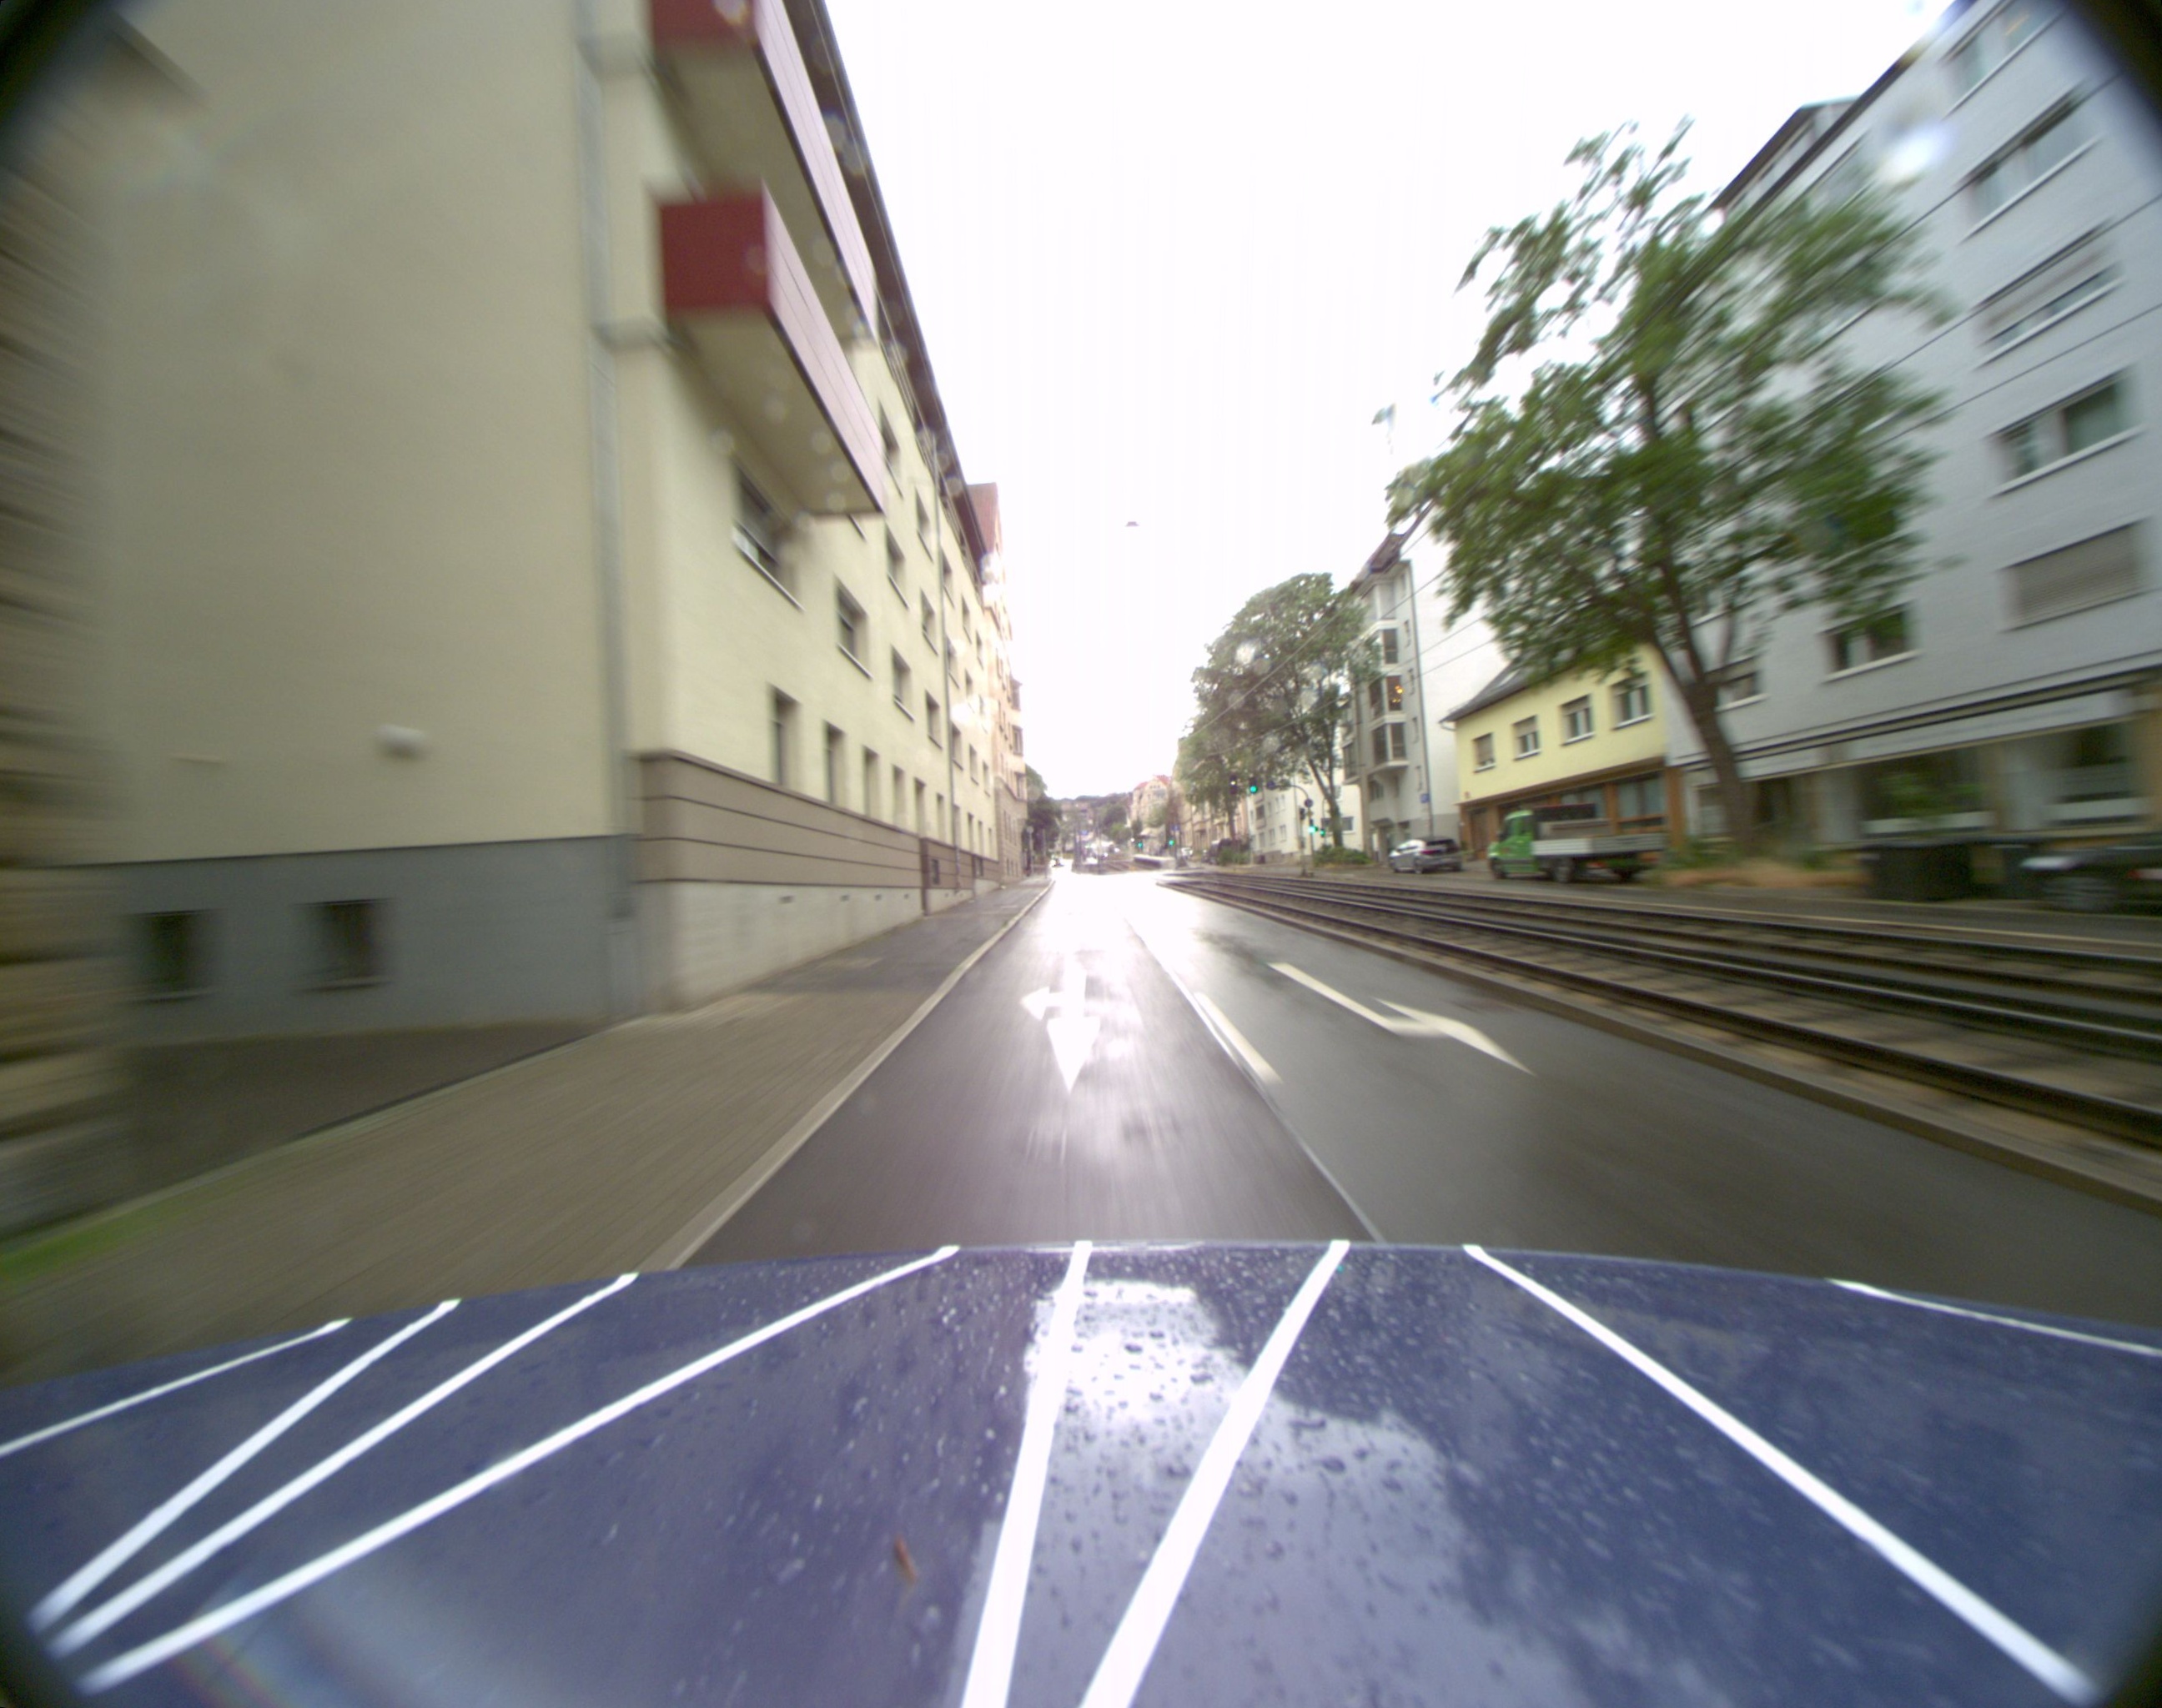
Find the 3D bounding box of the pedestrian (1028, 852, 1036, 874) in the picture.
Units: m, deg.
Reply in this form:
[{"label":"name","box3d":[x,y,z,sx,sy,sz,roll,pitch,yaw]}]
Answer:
[{"label":"pedestrian","box3d":[-4.200,0.766,65.237,0.547,1.904,0.604,-2,1,-3]}]

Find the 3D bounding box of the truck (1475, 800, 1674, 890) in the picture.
[{"label":"truck","box3d":[14.906,-0.309,23.573,2.197,2.332,6.352,-2,1,2]}]

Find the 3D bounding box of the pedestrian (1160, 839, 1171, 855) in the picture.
[{"label":"pedestrian","box3d":[9.613,-0.818,86.520,1.120,1.772,0.965,-3,0,0]}]

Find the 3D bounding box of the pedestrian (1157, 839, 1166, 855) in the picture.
[{"label":"pedestrian","box3d":[9.738,-0.858,91.804,0.903,1.841,0.860,-3,1,1]}]

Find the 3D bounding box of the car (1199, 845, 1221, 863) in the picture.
[{"label":"car","box3d":[15.520,-0.049,91.339,1.998,2.002,4.000,-3,0,2]}]

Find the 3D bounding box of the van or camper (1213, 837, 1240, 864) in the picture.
[{"label":"van or camper","box3d":[15.629,-0.421,81.920,1.998,2.782,5.213,-2,1,2]}]

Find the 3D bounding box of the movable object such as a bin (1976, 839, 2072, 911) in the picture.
[{"label":"movable object such as a bin","box3d":[15.283,0.334,12.326,0.727,1.115,0.671,-2,0,-5]}]

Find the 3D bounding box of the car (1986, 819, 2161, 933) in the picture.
[{"label":"car","box3d":[14.839,0.251,9.402,1.911,1.431,4.469,-3,0,-1]}]

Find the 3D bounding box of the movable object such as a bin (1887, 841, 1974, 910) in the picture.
[{"label":"movable object such as a bin","box3d":[14.512,0.359,12.992,0.727,1.115,0.671,-2,0,-5]}]

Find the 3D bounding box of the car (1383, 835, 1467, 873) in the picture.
[{"label":"car","box3d":[15.131,-0.018,33.696,1.709,1.451,4.360,-4,0,0]}]

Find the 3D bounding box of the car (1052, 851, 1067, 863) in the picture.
[{"label":"car","box3d":[-3.044,0.454,109.249,1.999,1.652,4.000,-3,0,-1]}]

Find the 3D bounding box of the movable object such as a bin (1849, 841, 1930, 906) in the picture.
[{"label":"movable object such as a bin","box3d":[14.562,0.351,13.699,0.727,1.115,0.671,-2,0,-5]}]
